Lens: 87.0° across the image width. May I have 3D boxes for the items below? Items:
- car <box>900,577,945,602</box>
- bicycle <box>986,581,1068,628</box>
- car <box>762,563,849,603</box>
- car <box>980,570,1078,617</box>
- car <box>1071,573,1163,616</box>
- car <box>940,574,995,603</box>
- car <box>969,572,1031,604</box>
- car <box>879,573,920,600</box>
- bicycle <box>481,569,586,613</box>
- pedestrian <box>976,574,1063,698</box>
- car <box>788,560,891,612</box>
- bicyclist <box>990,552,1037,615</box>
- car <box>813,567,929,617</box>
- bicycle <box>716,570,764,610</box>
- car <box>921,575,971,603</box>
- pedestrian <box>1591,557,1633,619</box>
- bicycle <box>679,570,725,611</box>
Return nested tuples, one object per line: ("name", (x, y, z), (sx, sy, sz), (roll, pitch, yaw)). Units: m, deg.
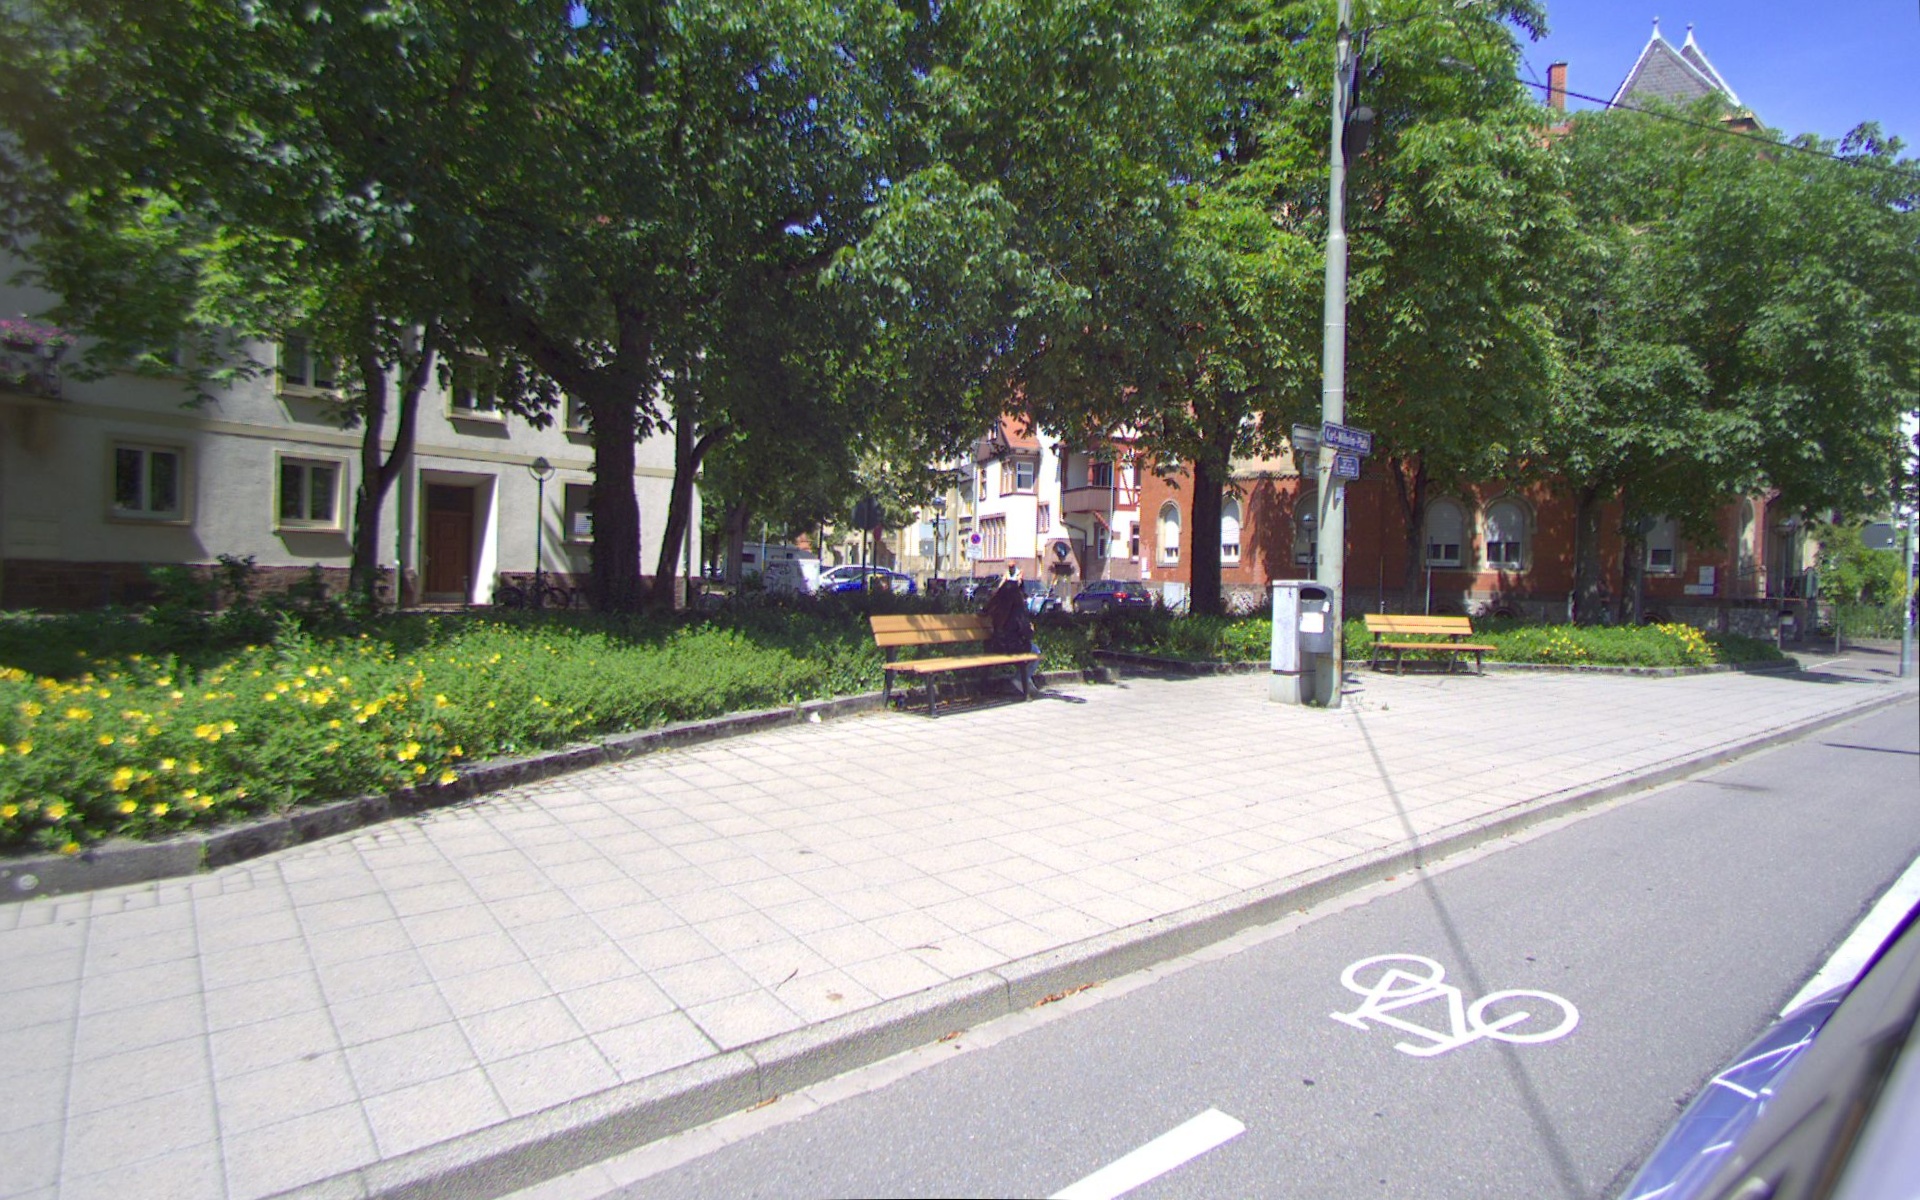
("car", (-2.565, -0.722, 67.948), (1.897, 1.638, 4.318), (0, 0, -19))
("bicycle", (1.996, 0.097, 29.351), (0.946, 1.279, 3.708), (0, 0, 28))
("car", (-8.084, -0.878, 52.937), (4.219, 2.029, 1.942), (0, 0, -18))
("car", (2.494, -0.249, 37.800), (1.897, 1.638, 4.534), (0, 0, -21))
("car", (6.276, -0.232, 41.025), (1.897, 1.638, 4.318), (0, 0, -19))
("car", (0.381, -0.651, 58.681), (1.897, 1.638, 4.318), (0, 0, -19))
("car", (2.067, -0.616, 54.074), (1.897, 1.638, 4.318), (0, 0, -19))
("car", (-4.501, -1.000, 74.461), (1.897, 1.897, 4.318), (0, 0, -19))
("bicycle", (-10.252, -0.220, 24.375), (2.230, 1.024, 0.751), (-1, 0, -41))
("pedestrian", (0.598, 0.335, 10.074), (0.562, 1.156, 0.718), (3, 2, 33))
("car", (-5.371, -0.625, 44.828), (4.219, 2.219, 1.942), (0, 0, -18))
("bicyclist", (1.503, -0.445, 28.397), (0.866, 1.717, 1.242), (0, 0, 28))
("car", (-3.544, -0.320, 40.015), (4.219, 1.903, 1.942), (0, 0, -18))
("bicycle", (-5.868, -0.267, 26.903), (0.736, 1.024, 2.273), (0, 0, -26))
("car", (-0.917, -0.687, 63.252), (1.897, 1.638, 4.318), (0, 0, -19))
("pedestrian", (19.954, -0.365, 30.973), (0.826, 1.846, 0.671), (2, 1, 12))
("bicycle", (-6.775, -0.258, 26.474), (0.736, 1.024, 2.273), (0, 0, -26))
